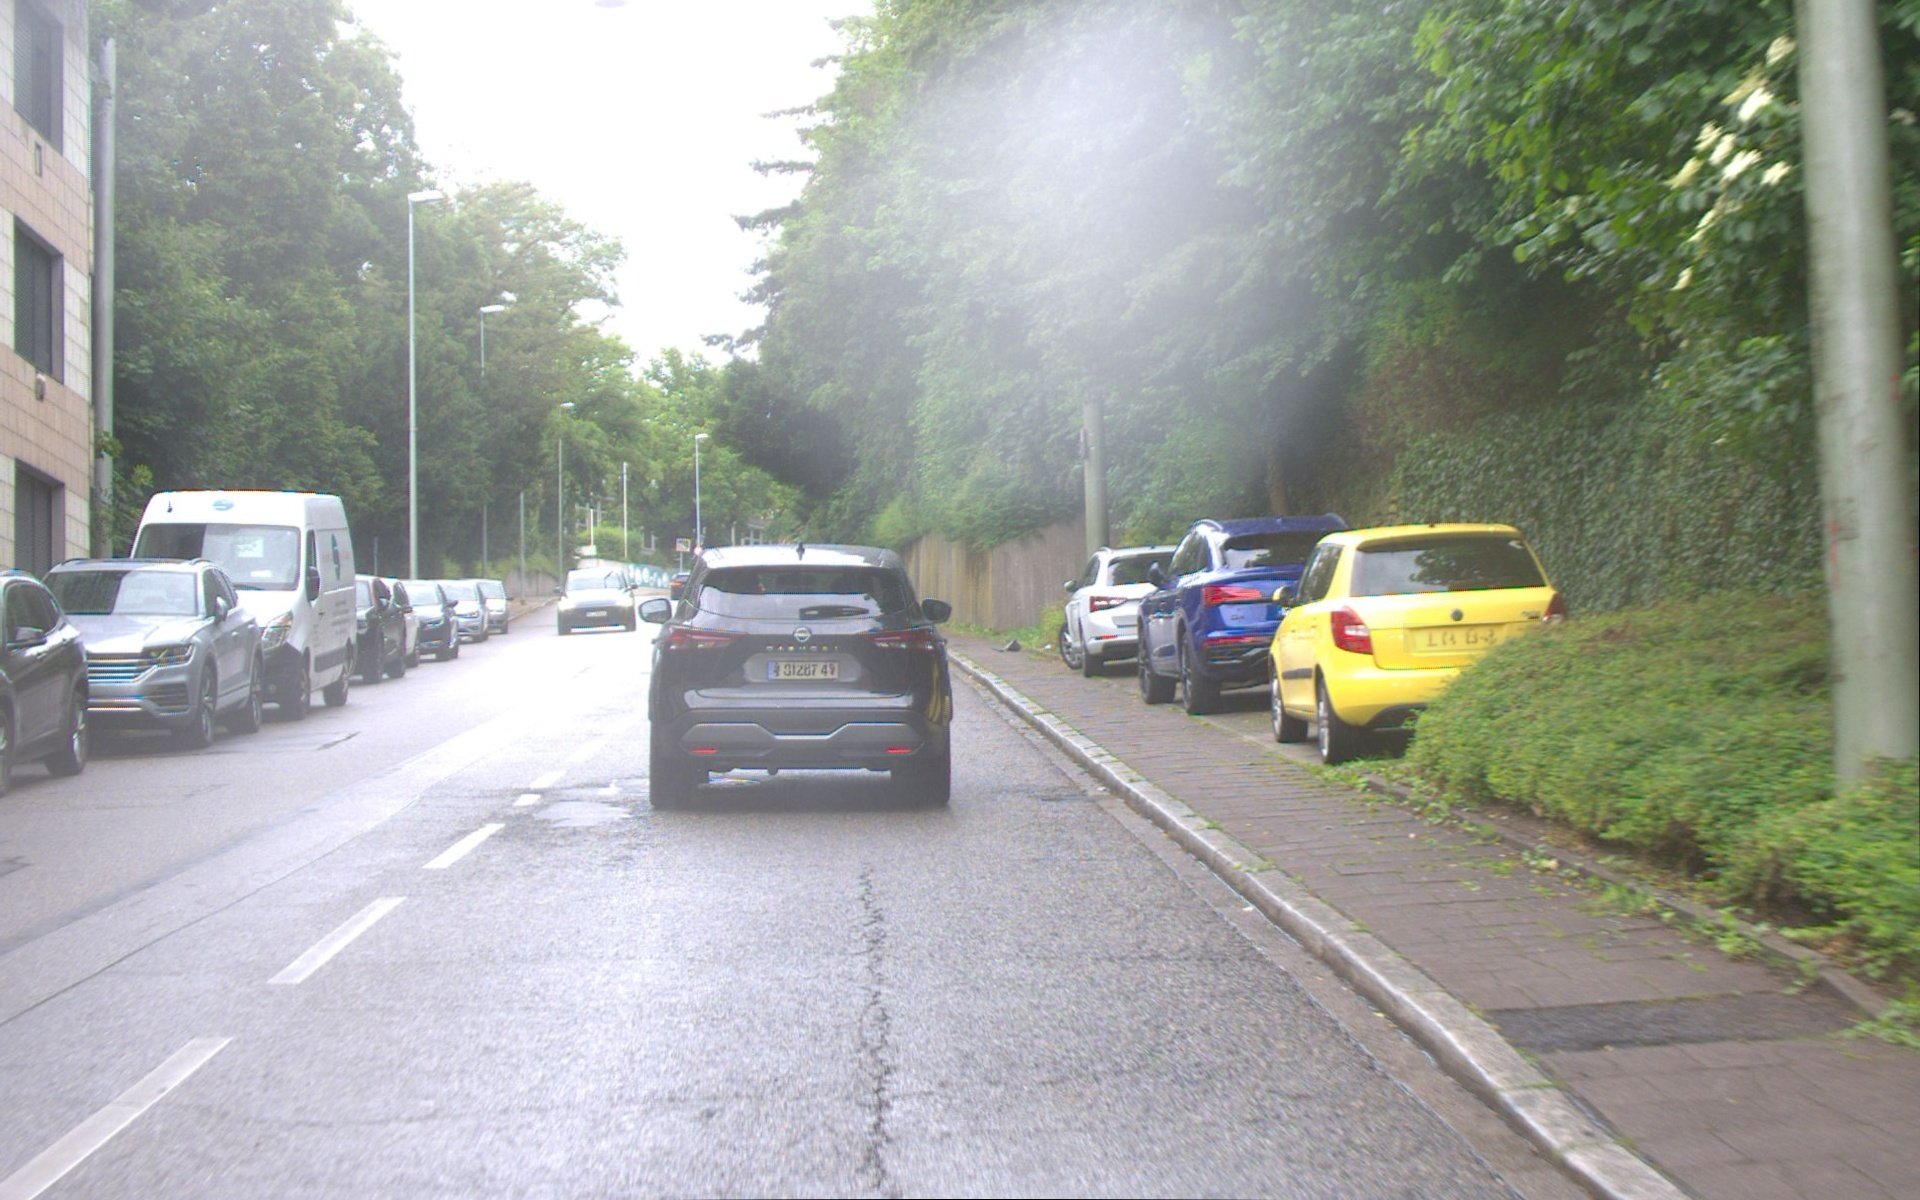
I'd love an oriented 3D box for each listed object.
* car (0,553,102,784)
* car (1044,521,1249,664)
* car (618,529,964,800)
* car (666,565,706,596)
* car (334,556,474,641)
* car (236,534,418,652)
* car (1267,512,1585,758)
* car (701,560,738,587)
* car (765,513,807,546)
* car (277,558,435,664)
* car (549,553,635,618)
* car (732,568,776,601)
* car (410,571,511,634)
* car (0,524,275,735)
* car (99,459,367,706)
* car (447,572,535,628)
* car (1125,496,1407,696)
[{"bbox_3d":[-7.740,0.479,25.233,1.990,1.579,4.306,-2,1,-3],"label":"car"},{"bbox_3d":[2.180,-0.112,41.314,1.810,1.525,4.418,-3,1,-4],"label":"car"},{"bbox_3d":[-1.053,0.335,21.881,1.993,1.554,4.001,0,1,-2],"label":"car"},{"bbox_3d":[-14.486,-1.050,181.913,2.074,1.554,4.001,-1,1,-4],"label":"car"},{"bbox_3d":[-9.930,-0.058,61.653,1.990,1.379,4.458,-2,1,-3],"label":"car"},{"bbox_3d":[-9.013,-0.137,49.292,1.990,1.561,4.458,-2,1,-3],"label":"car"},{"bbox_3d":[3.066,0.190,23.308,1.633,1.525,4.000,0,1,0],"label":"car"},{"bbox_3d":[-14.031,-1.553,201.031,2.074,1.554,4.001,-1,1,-3],"label":"car"},{"bbox_3d":[-9.237,-3.757,183.093,1.993,1.554,4.000,-2,-1,0],"label":"car"},{"bbox_3d":[-9.755,0.146,55.814,1.990,1.561,4.458,-2,1,-3],"label":"car"},{"bbox_3d":[-9.223,-0.371,86.405,1.993,1.554,4.001,0,1,-4],"label":"car"},{"bbox_3d":[-10.372,-0.787,172.837,2.074,1.554,4.001,-1,1,-5],"label":"car"},{"bbox_3d":[-11.932,0.036,82.345,1.990,1.379,4.458,-2,1,-3],"label":"car"},{"bbox_3d":[-7.631,0.214,31.520,1.990,1.749,4.481,-2,1,-3],"label":"car"},{"bbox_3d":[-7.927,-0.231,38.035,1.990,2.466,5.785,-2,1,-3],"label":"car"},{"bbox_3d":[-12.732,-0.012,93.473,1.990,1.379,4.458,-2,1,-3],"label":"car"},{"bbox_3d":[2.605,-0.058,30.261,1.810,1.525,4.418,-3,1,-3],"label":"car"}]
